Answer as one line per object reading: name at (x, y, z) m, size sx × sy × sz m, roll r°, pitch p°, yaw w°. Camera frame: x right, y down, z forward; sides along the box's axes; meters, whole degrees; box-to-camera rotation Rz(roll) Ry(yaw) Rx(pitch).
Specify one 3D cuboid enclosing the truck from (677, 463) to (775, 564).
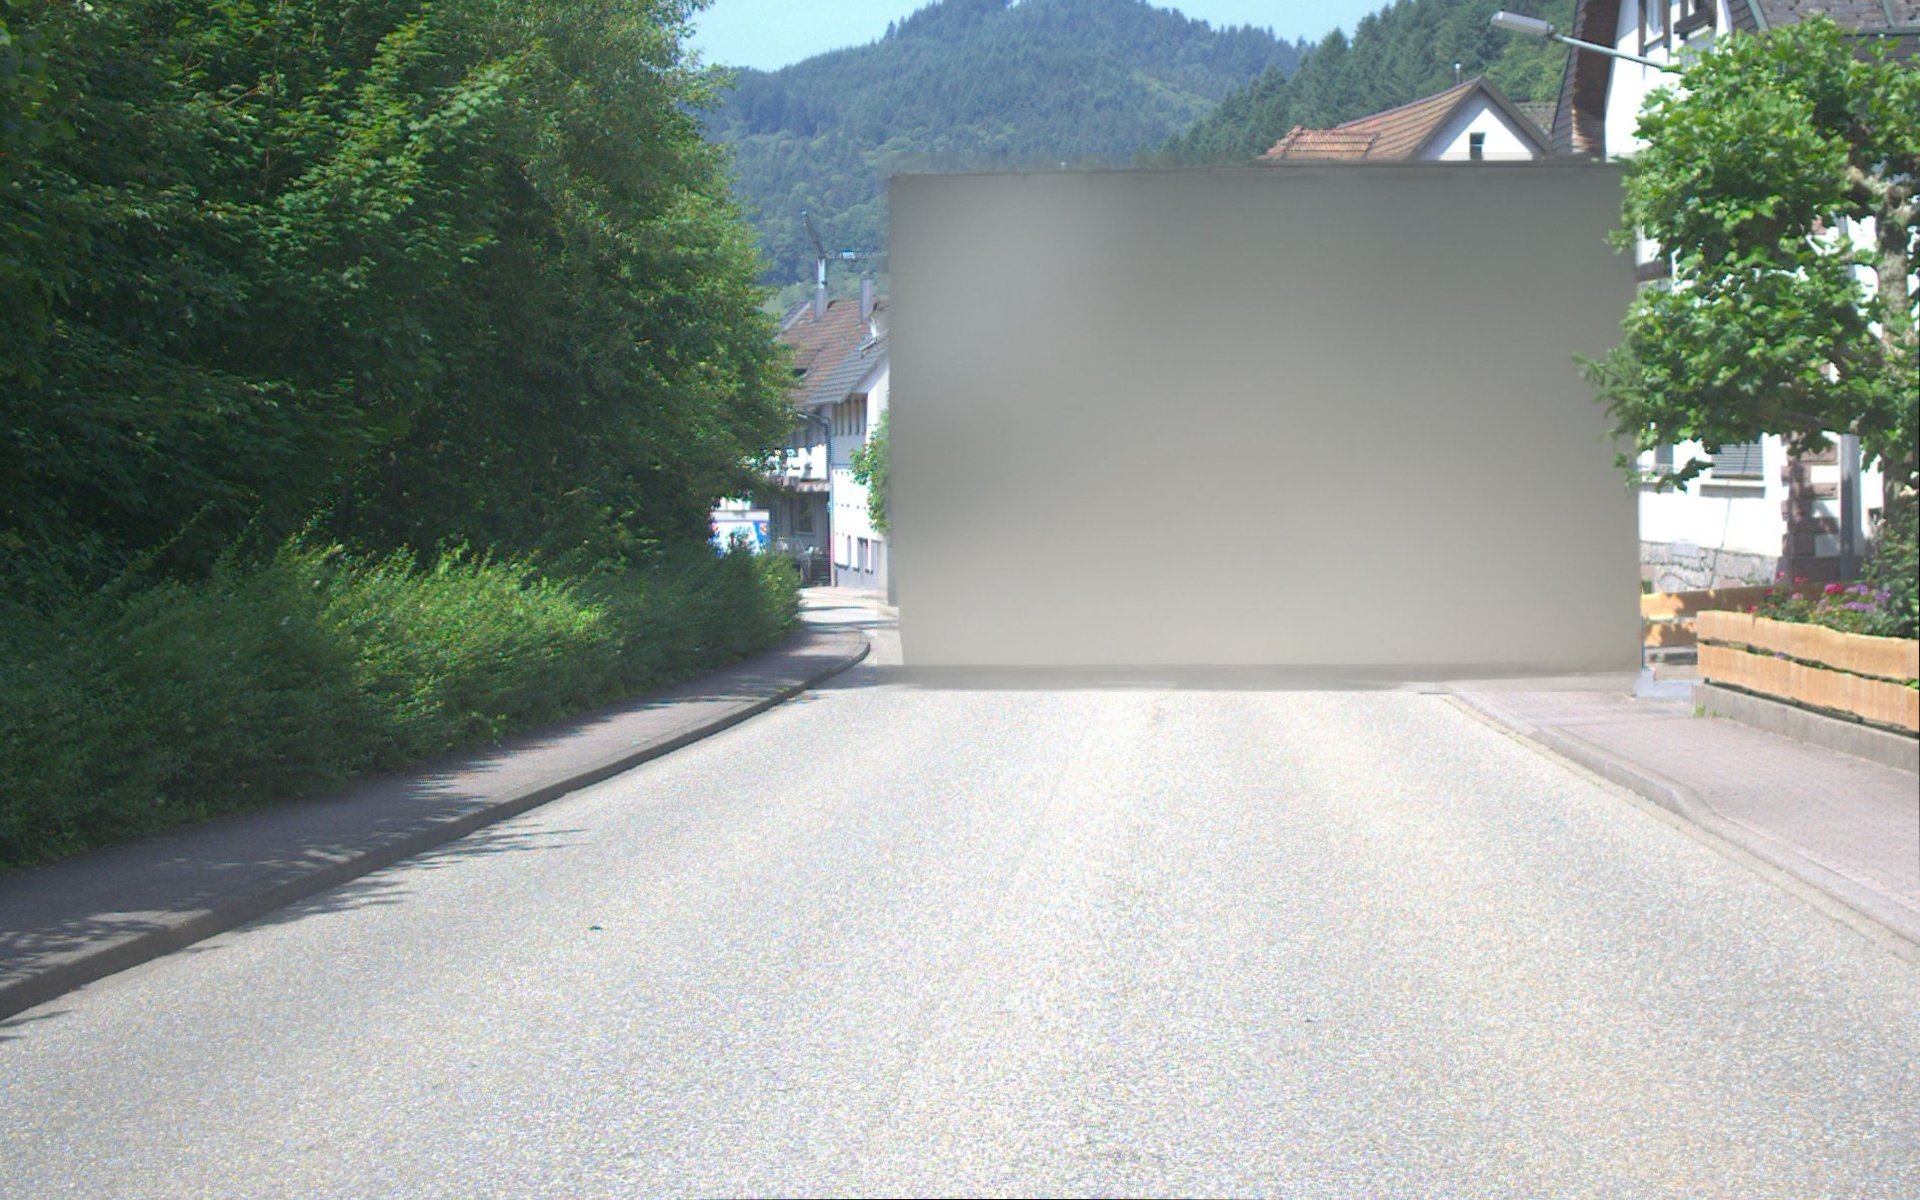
truck at (-10.196, -3.678, 149.012) m, size 3.362 × 3.769 × 8.441 m, roll -5°, pitch 0°, yaw -8°
